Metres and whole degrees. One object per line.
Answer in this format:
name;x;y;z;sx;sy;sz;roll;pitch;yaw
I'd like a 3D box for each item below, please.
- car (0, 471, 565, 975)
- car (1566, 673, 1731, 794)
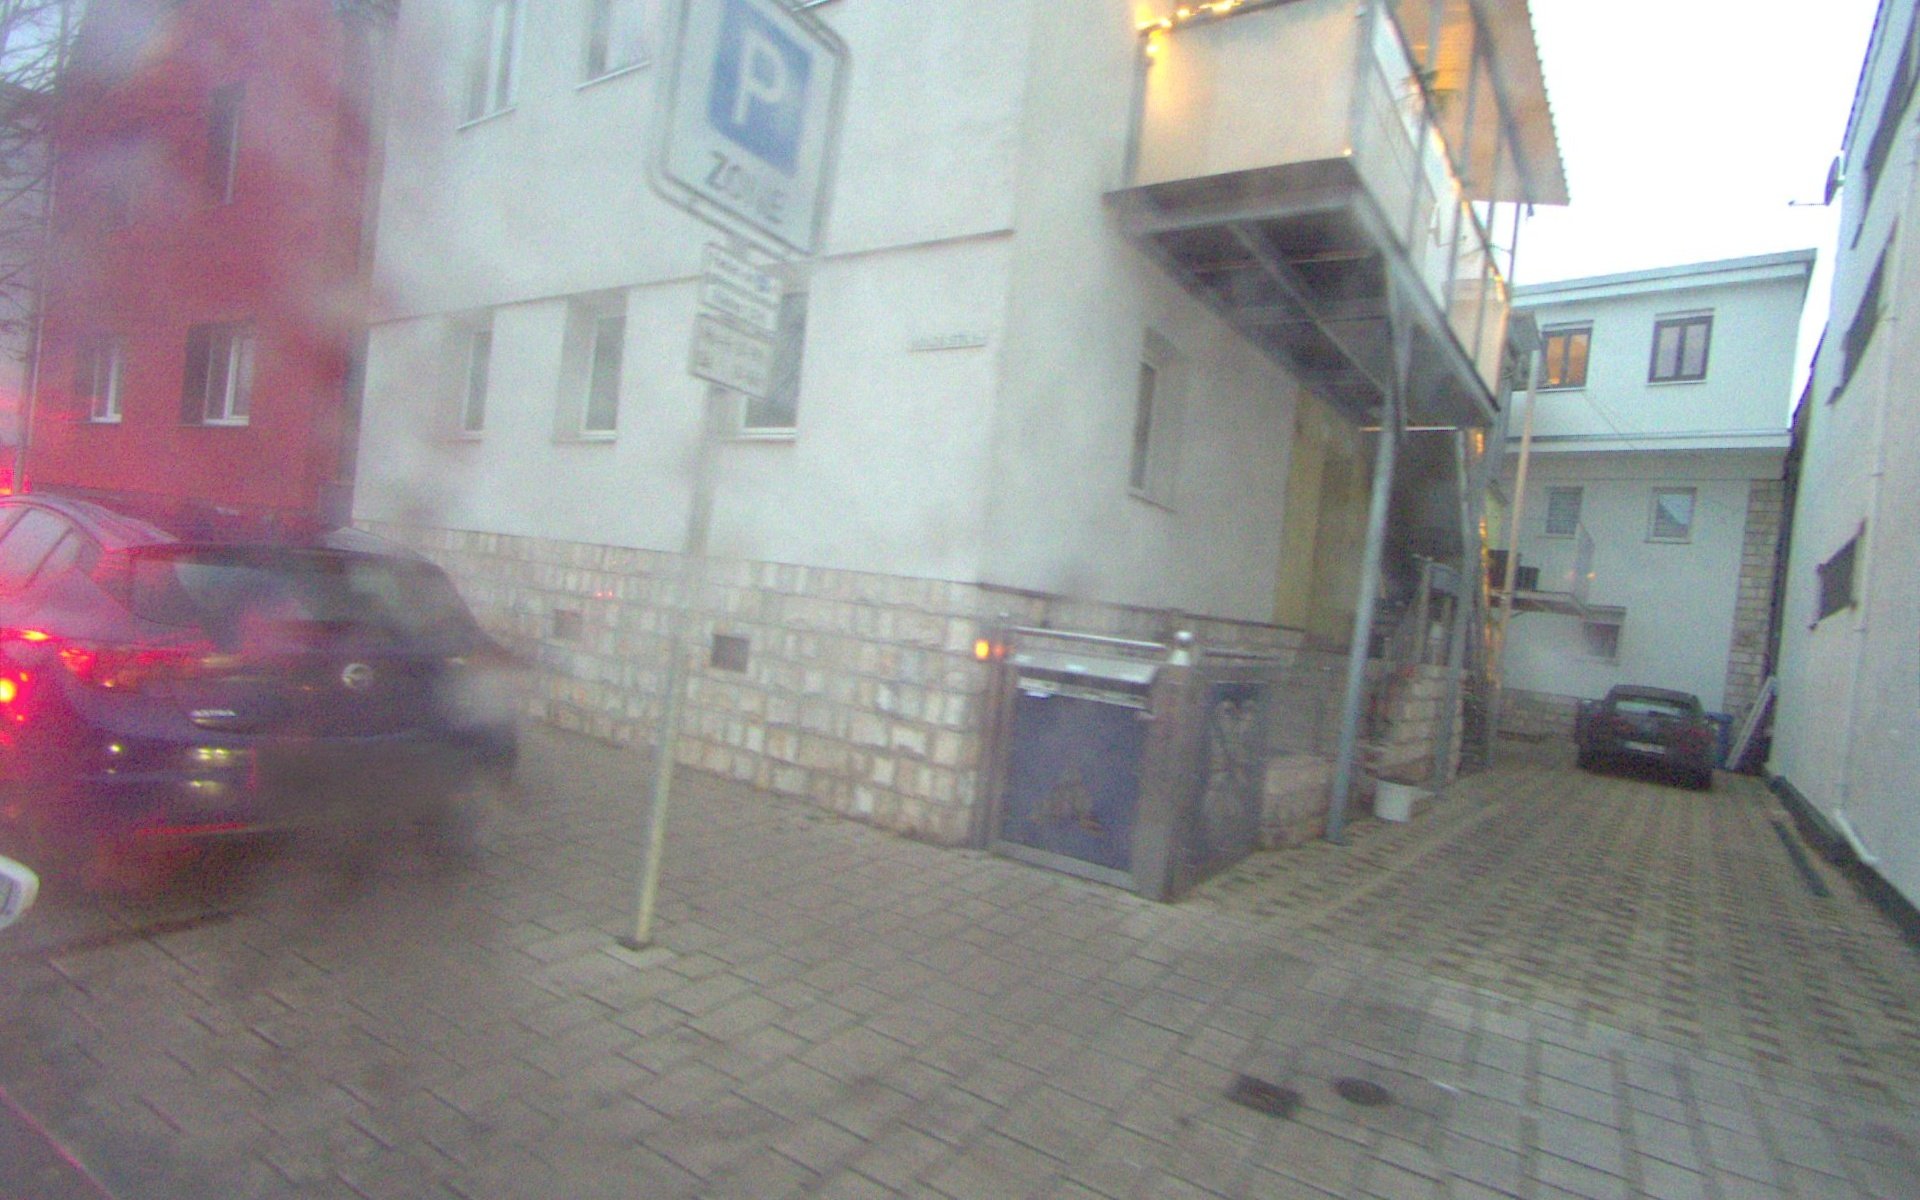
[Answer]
car;-3.980;0.209;4.911;4.131;1.484;1.727;8;3;34
car;11.580;2.126;17.019;1.906;1.434;3.949;9;3;34
